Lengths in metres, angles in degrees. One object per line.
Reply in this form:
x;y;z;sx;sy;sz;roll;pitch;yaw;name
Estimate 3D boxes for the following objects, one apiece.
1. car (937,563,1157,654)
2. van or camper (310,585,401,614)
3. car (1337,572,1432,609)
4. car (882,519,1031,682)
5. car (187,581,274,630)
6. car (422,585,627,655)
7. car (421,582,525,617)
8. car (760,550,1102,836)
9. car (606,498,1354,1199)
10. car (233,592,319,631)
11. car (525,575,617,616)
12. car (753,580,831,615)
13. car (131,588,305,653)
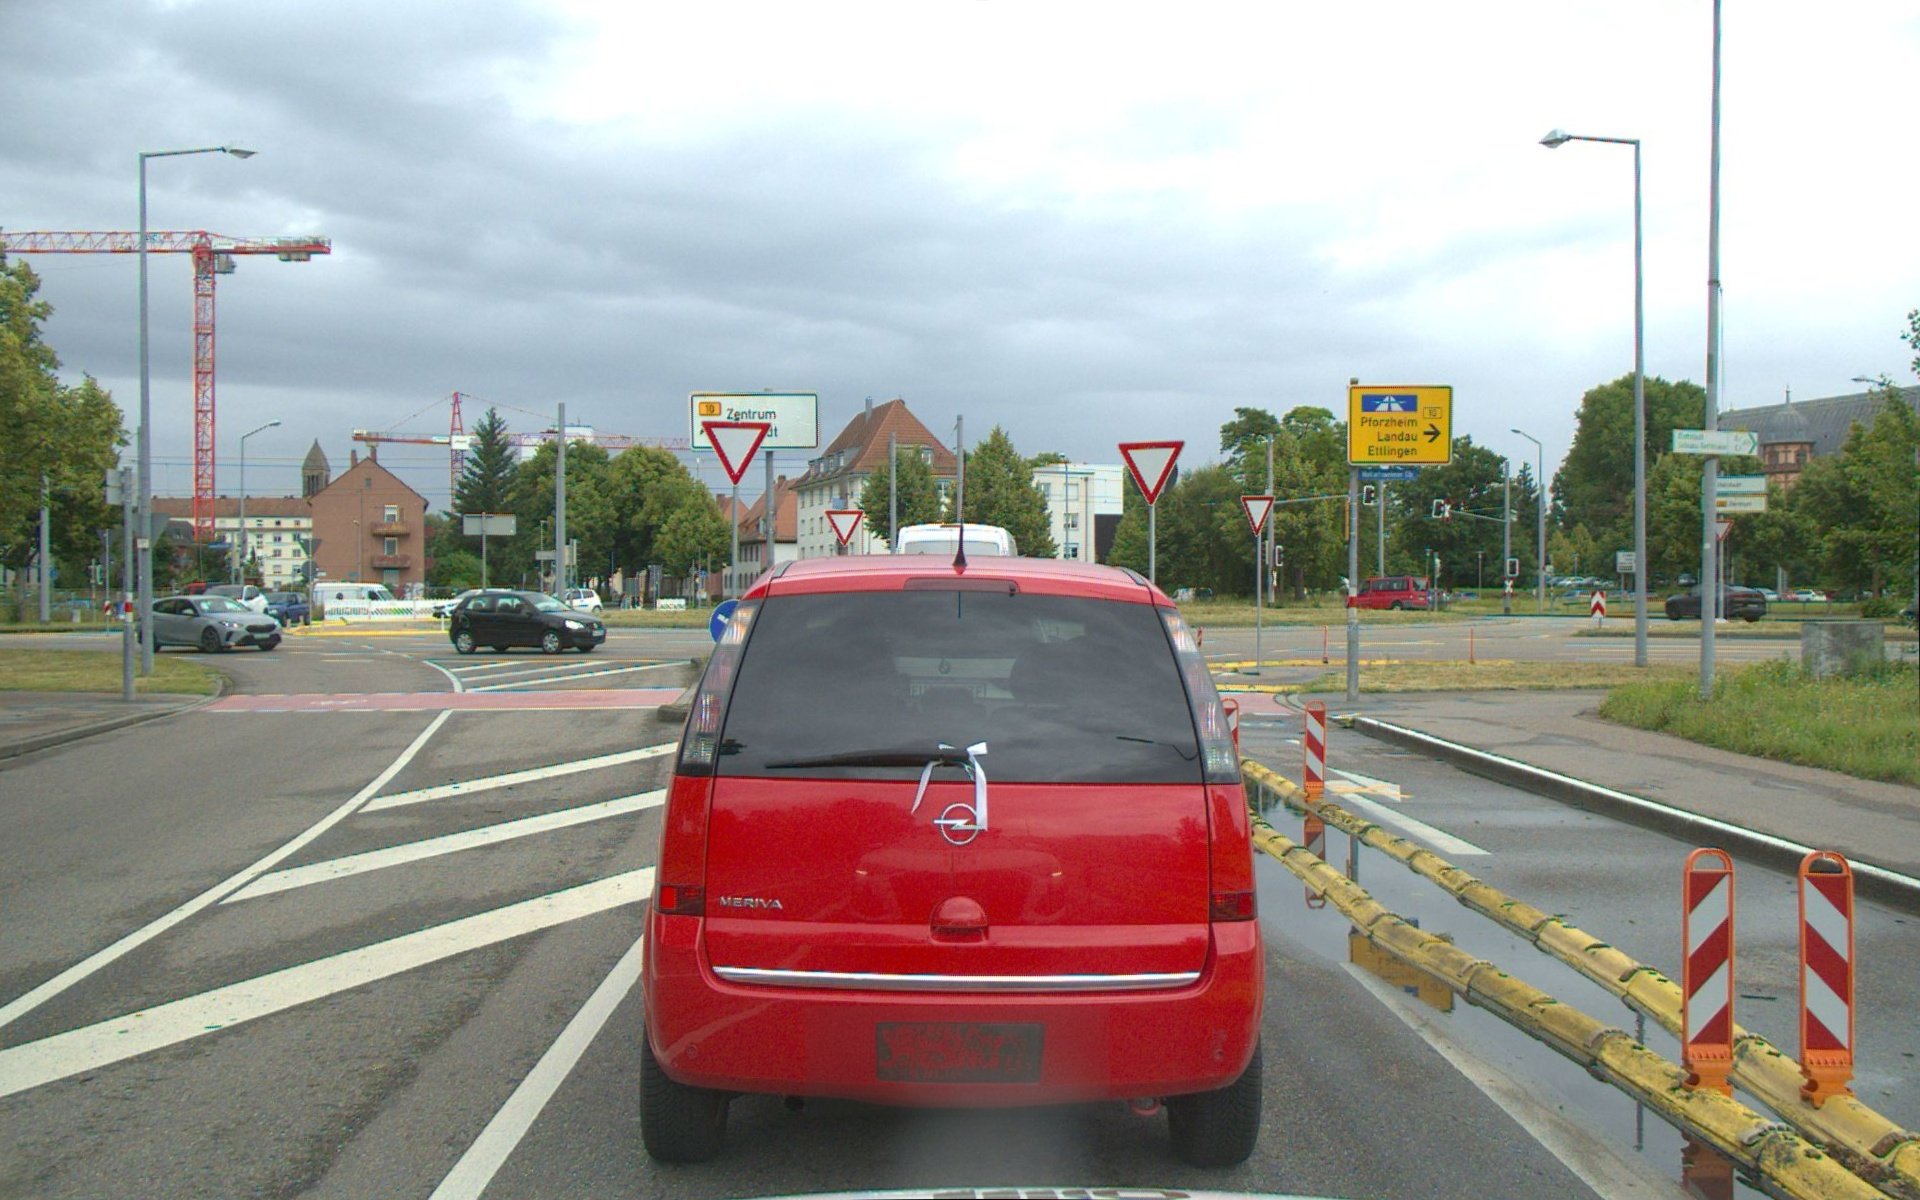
1.993;0.182;37.001;4.729;1.933;2.101;0;0;8;car
-44.252;-0.022;121.062;6.045;2.049;2.002;0;0;10;van or camper
23.356;-0.513;91.186;2.094;1.951;4.824;-1;0;-38;car
0.052;-0.014;28.948;2.149;2.584;4.965;1;0;5;car
-26.908;0.181;61.138;1.895;1.713;4.181;-1;0;-8;car
-10.487;0.470;39.890;4.333;1.630;2.100;0;0;18;car
-23.625;-0.045;80.397;1.959;1.663;4.660;0;0;34;car
-0.204;0.540;12.179;2.018;1.676;4.606;1;0;-1;car
0.021;0.608;5.483;1.639;1.669;3.626;1;0;-1;car
-27.788;0.432;67.321;1.891;1.515;4.000;-1;0;-1;car
-19.955;-0.236;84.985;1.959;2.049;4.466;0;0;34;car
-10.263;-0.166;101.166;4.404;2.049;1.986;-1;0;-24;car
-19.494;0.514;43.403;4.345;1.630;2.094;0;0;32;car
